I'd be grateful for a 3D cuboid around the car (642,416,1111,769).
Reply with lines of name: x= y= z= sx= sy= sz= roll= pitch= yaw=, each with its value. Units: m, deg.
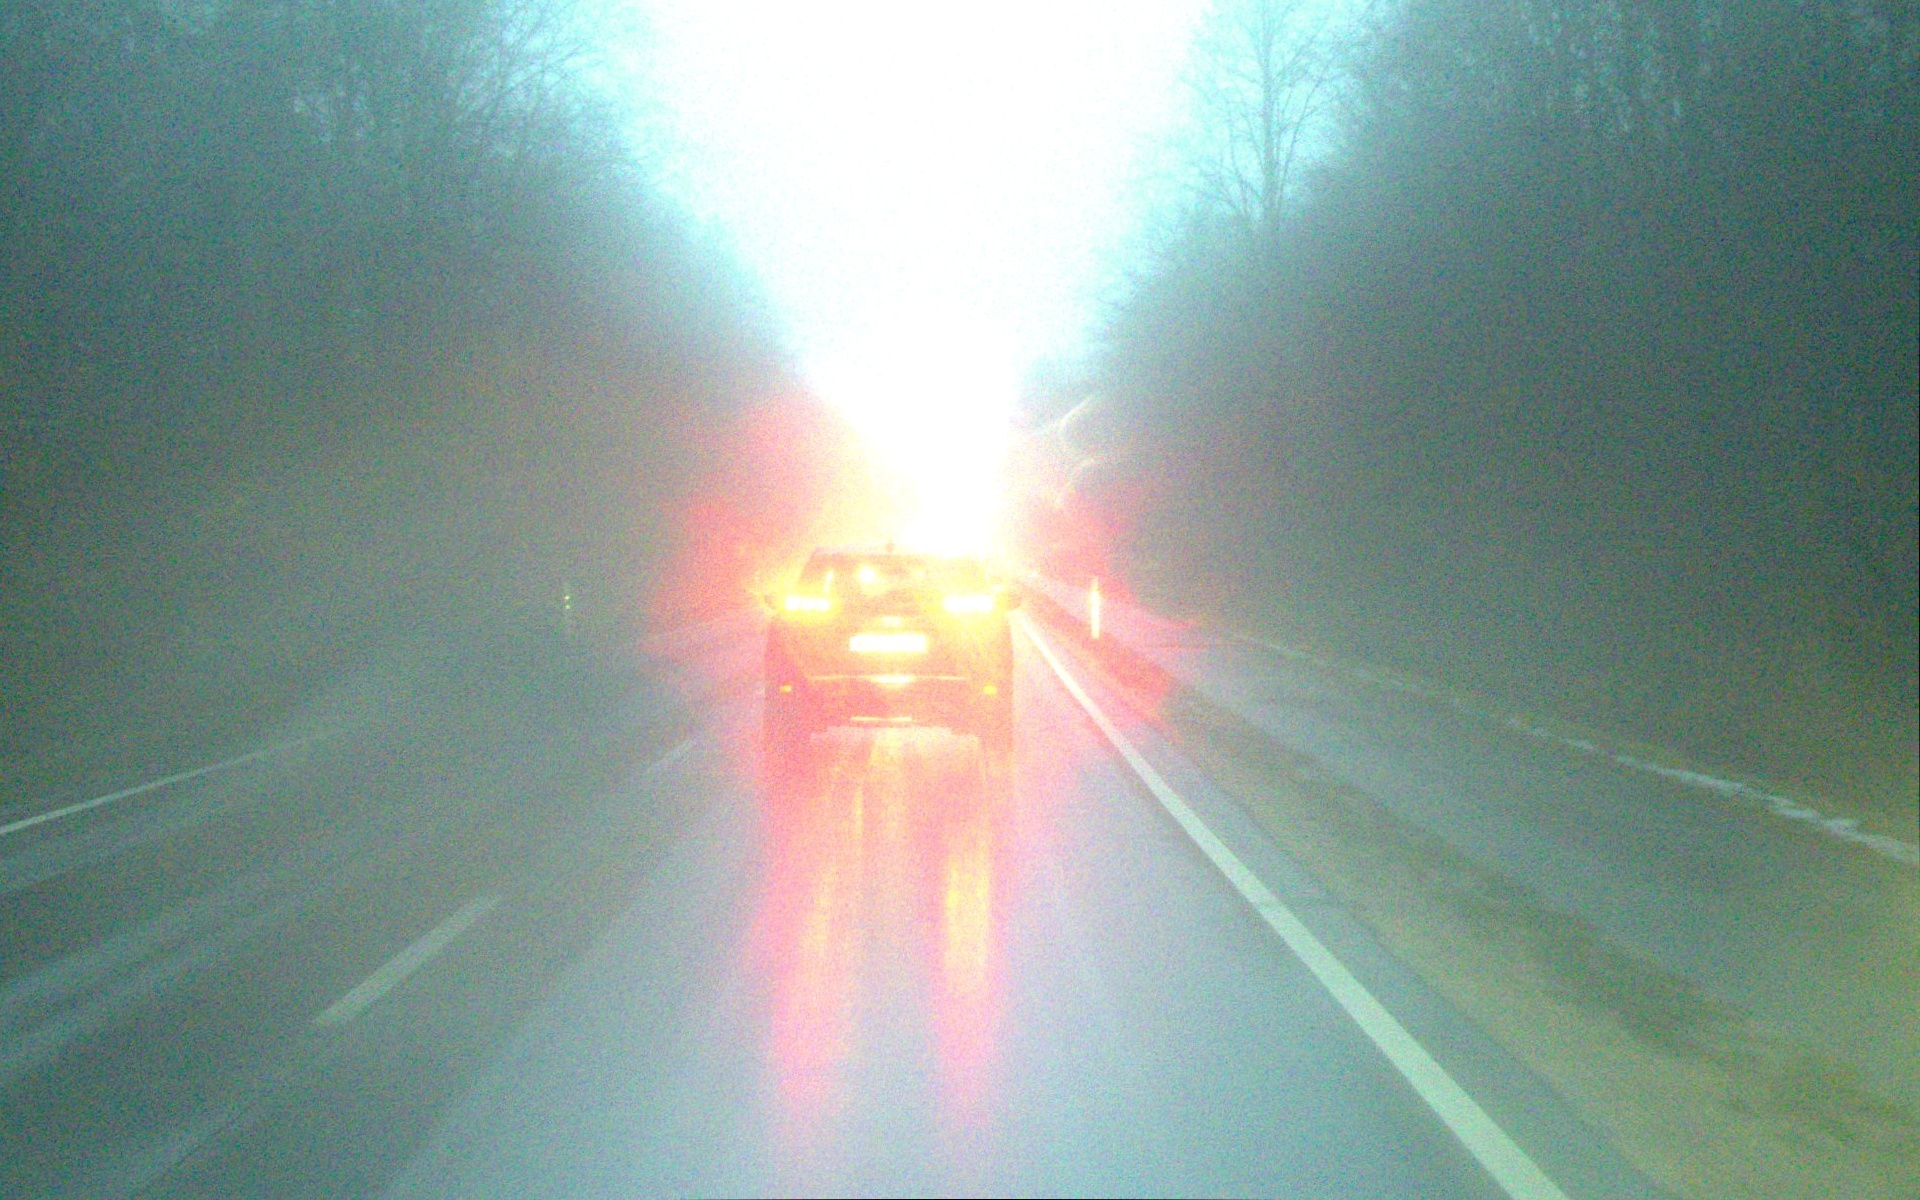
car: x=-0.589 y=-0.104 z=26.851 sx=3.183 sy=2.378 sz=6.637 roll=1 pitch=1 yaw=0
